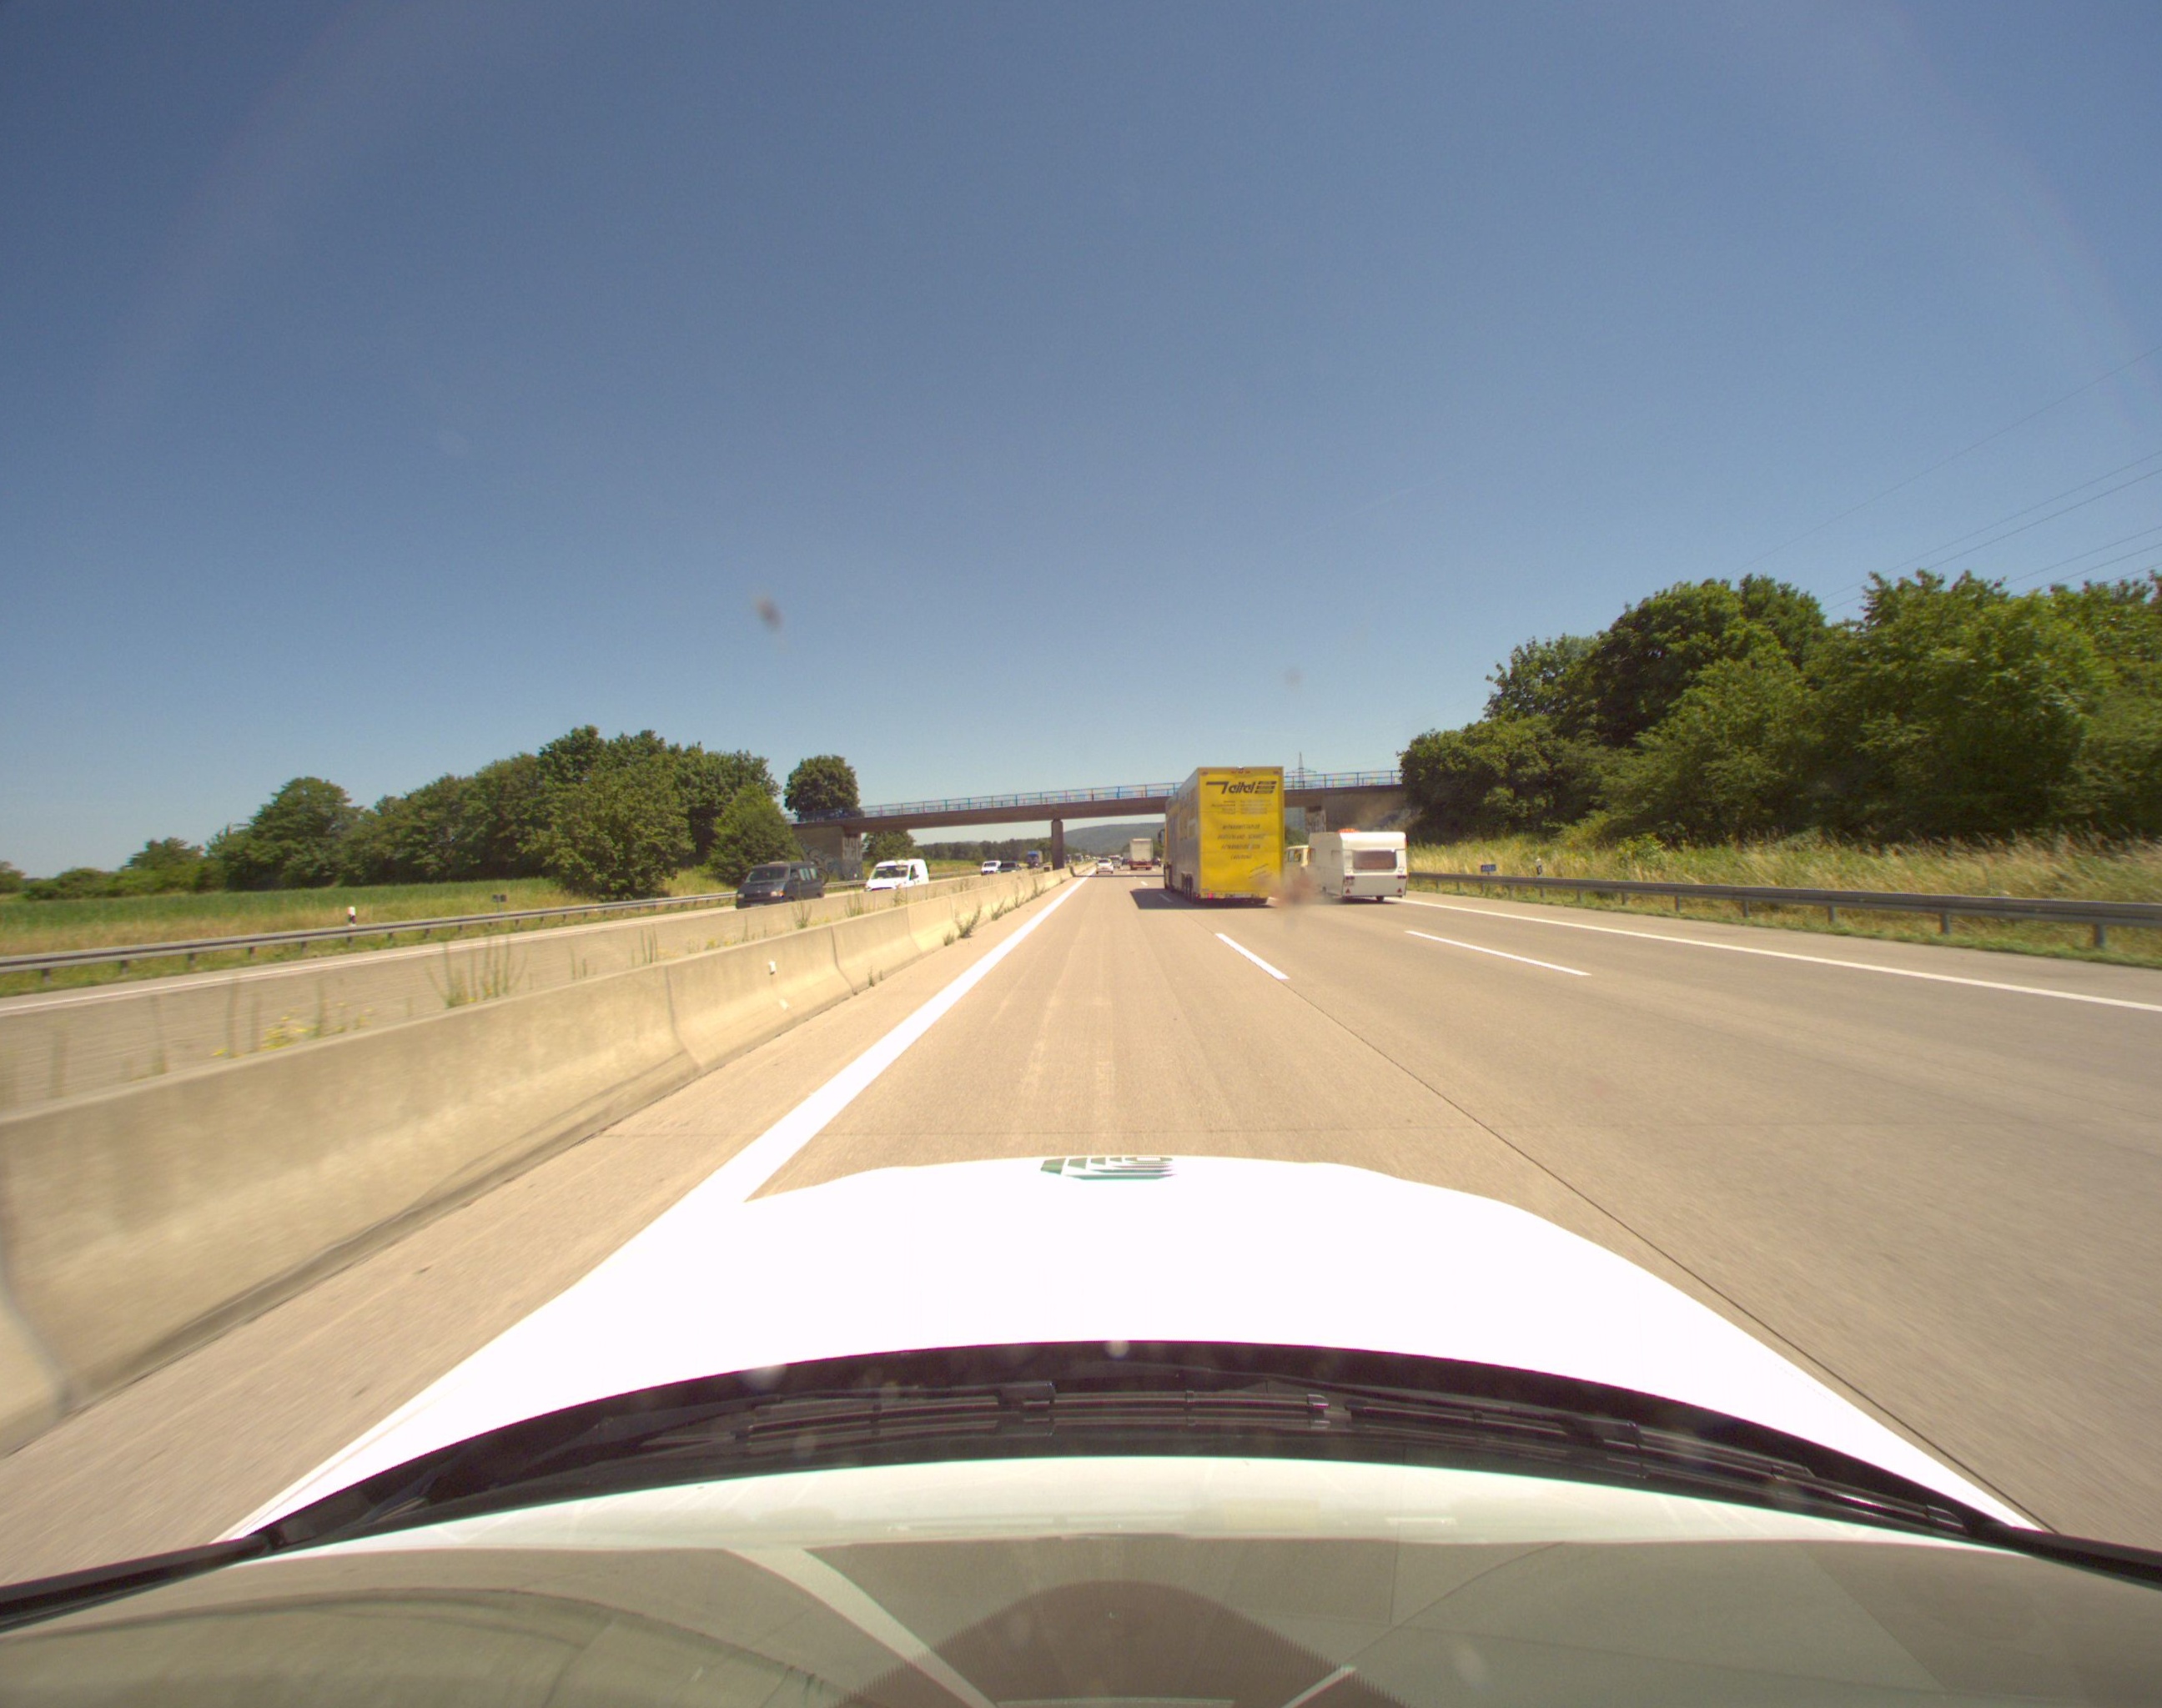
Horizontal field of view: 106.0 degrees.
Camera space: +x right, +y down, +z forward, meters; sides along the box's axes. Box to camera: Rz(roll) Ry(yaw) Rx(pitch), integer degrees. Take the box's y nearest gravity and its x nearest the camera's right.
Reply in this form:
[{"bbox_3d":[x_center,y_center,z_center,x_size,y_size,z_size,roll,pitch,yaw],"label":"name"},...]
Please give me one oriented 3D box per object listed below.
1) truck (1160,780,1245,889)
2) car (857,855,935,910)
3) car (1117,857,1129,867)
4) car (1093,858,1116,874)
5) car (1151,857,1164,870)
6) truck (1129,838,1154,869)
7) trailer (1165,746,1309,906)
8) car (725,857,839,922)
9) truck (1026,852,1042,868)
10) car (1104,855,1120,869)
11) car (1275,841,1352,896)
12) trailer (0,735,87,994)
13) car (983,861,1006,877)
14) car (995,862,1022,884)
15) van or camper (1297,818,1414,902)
[{"bbox_3d":[5.404,-0.809,37.183,3.203,4.563,5.838,0,0,2],"label":"truck"},{"bbox_3d":[-7.488,1.104,33.439,1.859,1.980,4.790,-3,0,2],"label":"car"},{"bbox_3d":[8.512,1.546,164.824,2.214,2.013,4.001,0,0,1],"label":"car"},{"bbox_3d":[2.357,1.157,81.004,2.098,1.536,4.125,0,0,3],"label":"car"},{"bbox_3d":[12.735,1.554,135.427,1.986,2.013,4.001,0,0,1],"label":"car"},{"bbox_3d":[7.604,-0.090,102.569,2.809,3.761,6.286,0,0,1],"label":"truck"},{"bbox_3d":[5.148,-0.806,30.032,3.203,4.563,13.463,0,0,2],"label":"trailer"},{"bbox_3d":[-11.323,1.262,31.401,1.986,2.138,5.884,-4,0,2],"label":"car"},{"bbox_3d":[-10.517,1.431,184.640,2.974,3.560,7.495,0,0,2],"label":"truck"},{"bbox_3d":[4.526,1.197,119.585,2.245,2.013,4.300,0,0,3],"label":"car"},{"bbox_3d":[9.093,0.528,32.187,1.986,2.013,4.001,0,0,1],"label":"car"},{"bbox_3d":[-16.595,0.159,5.973,2.564,3.630,12.860,0,0,2],"label":"trailer"},{"bbox_3d":[-9.750,1.669,92.063,1.859,1.740,4.790,-2,0,2],"label":"car"},{"bbox_3d":[-6.572,1.684,74.273,1.859,1.839,4.790,-2,0,2],"label":"car"},{"bbox_3d":[9.029,0.188,27.380,2.216,2.531,5.432,0,0,1],"label":"van or camper"}]
